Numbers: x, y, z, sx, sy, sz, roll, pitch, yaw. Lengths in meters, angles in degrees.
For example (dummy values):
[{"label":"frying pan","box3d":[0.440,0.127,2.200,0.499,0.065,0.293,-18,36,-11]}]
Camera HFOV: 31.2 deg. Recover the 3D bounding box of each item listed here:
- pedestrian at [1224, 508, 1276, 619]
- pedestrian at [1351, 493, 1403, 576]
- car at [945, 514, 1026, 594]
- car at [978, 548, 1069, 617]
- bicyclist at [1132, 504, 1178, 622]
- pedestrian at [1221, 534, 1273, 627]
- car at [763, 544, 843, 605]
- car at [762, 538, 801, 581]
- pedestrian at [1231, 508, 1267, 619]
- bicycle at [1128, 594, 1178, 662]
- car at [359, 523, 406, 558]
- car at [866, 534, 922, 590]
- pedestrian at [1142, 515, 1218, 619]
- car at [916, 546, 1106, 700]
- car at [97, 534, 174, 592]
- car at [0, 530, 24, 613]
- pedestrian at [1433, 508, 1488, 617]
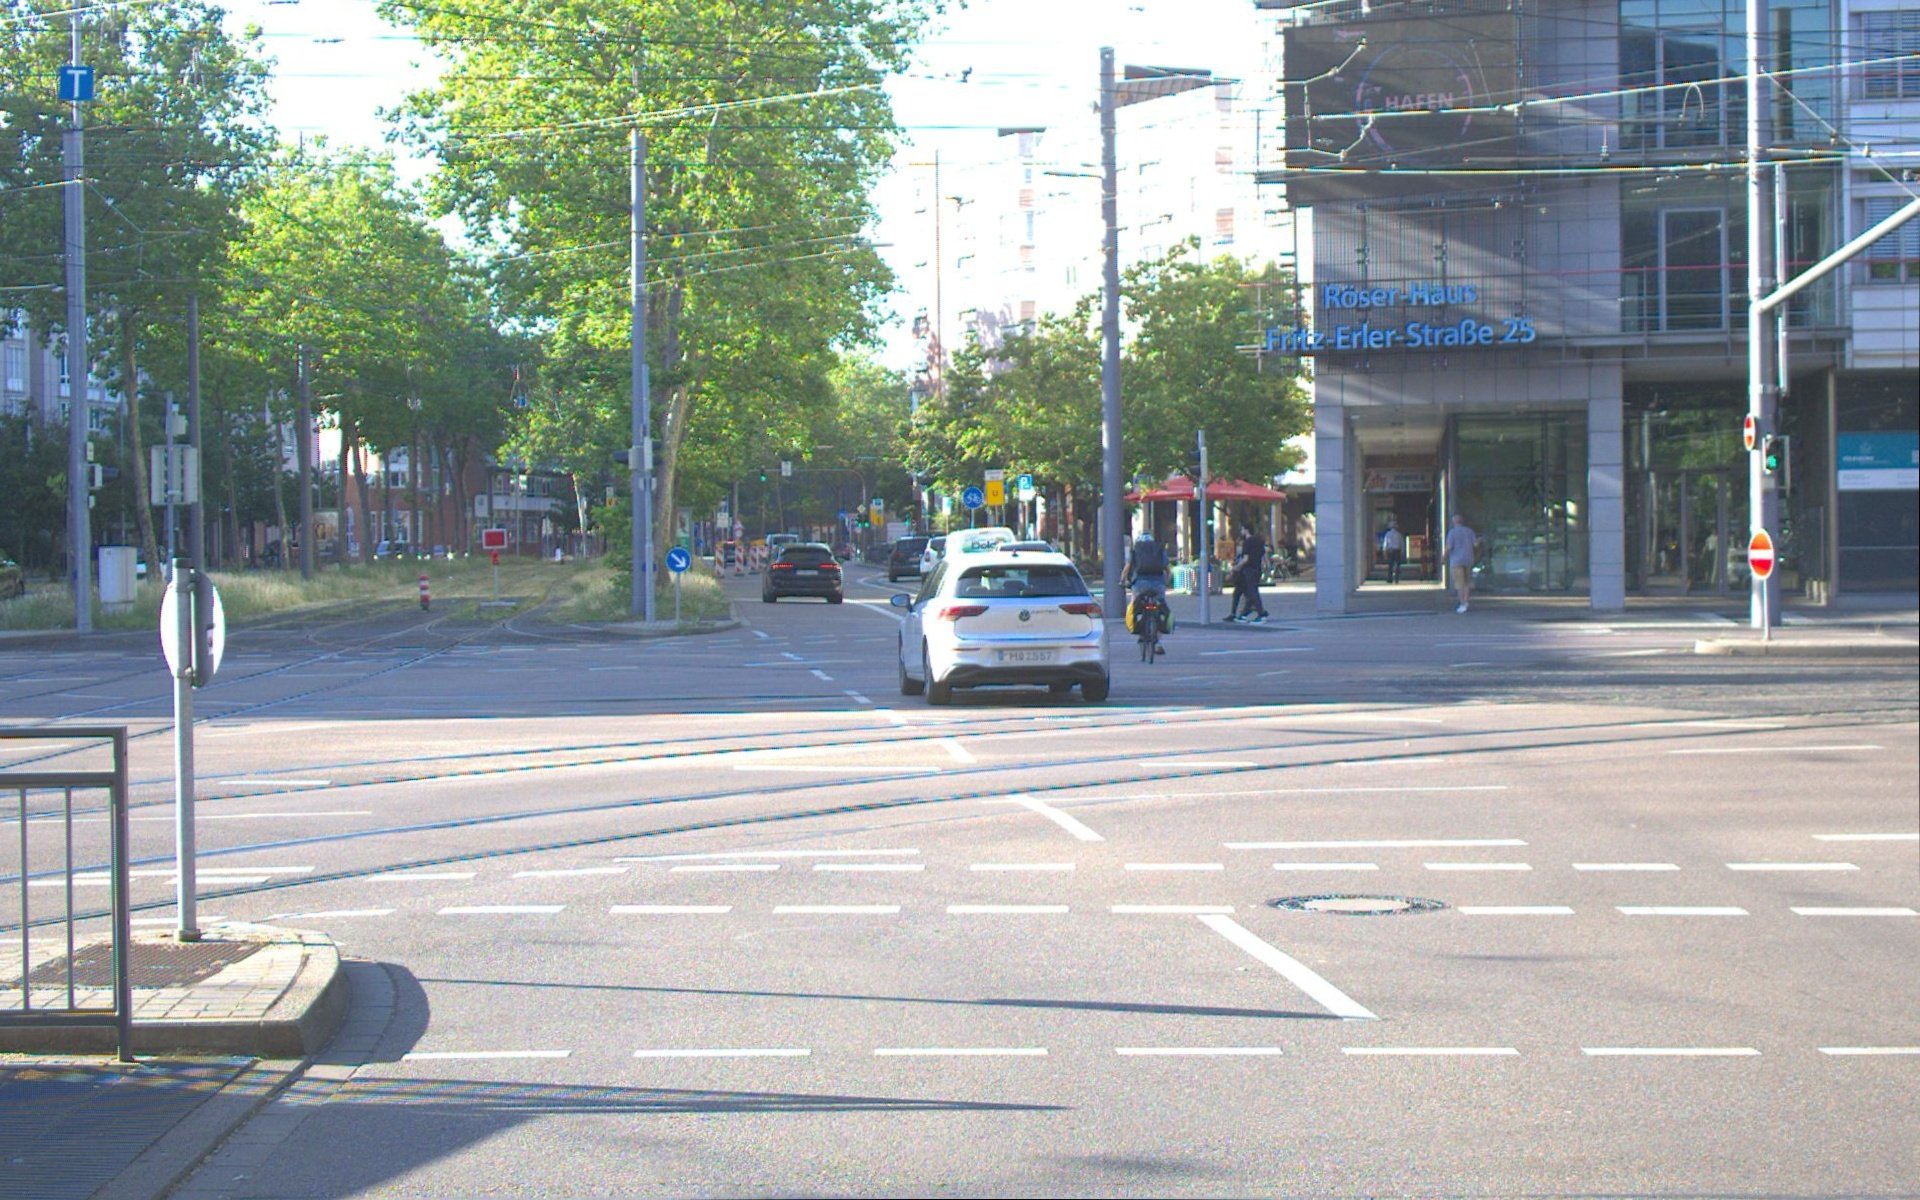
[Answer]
[{"label":"pedestrian","box3d":[5.308,-0.668,62.901,0.849,2.007,0.708,1,0,-1]},{"label":"pedestrian","box3d":[11.064,-1.736,91.283,1.313,2.182,1.170,1,0,6]},{"label":"car","box3d":[0.646,-1.203,89.624,1.993,2.007,4.000,1,1,-1]},{"label":"car","box3d":[1.501,-0.440,82.734,2.029,1.590,4.000,1,1,-1]},{"label":"bicyclist","box3d":[2.427,-0.464,42.763,0.486,1.434,0.615,2,2,-1]},{"label":"pedestrian","box3d":[5.324,-0.370,63.858,0.869,1.702,0.794,1,0,-1]},{"label":"car","box3d":[-3.736,-0.612,81.496,1.763,1.399,4.297,0,1,-4]},{"label":"car","box3d":[-10.342,-2.341,199.706,1.993,2.007,3.999,1,-6,1]},{"label":"pedestrian","box3d":[5.285,-0.665,62.839,0.586,2.007,0.620,1,0,0]},{"label":"bicycle","box3d":[2.397,0.339,42.757,0.490,0.785,1.862,0,1,-1]},{"label":"car","box3d":[-34.004,-3.536,202.600,1.876,2.007,4.471,-1,1,2]},{"label":"car","box3d":[-2.422,-1.400,126.731,1.993,2.007,4.000,1,1,-1]},{"label":"pedestrian","box3d":[4.157,-0.622,65.090,1.342,1.944,1.011,-1,0,-1]},{"label":"car","box3d":[0.520,0.181,33.900,1.748,1.413,4.000,0,1,1]},{"label":"car","box3d":[-23.837,-1.076,99.489,1.676,1.601,4.001,1,1,-6]},{"label":"car","box3d":[-21.651,-0.618,74.901,1.822,1.784,4.001,-1,1,-7]},{"label":"pedestrian","box3d":[9.369,-0.699,64.393,0.869,2.007,0.794,1,-1,-1]}]
